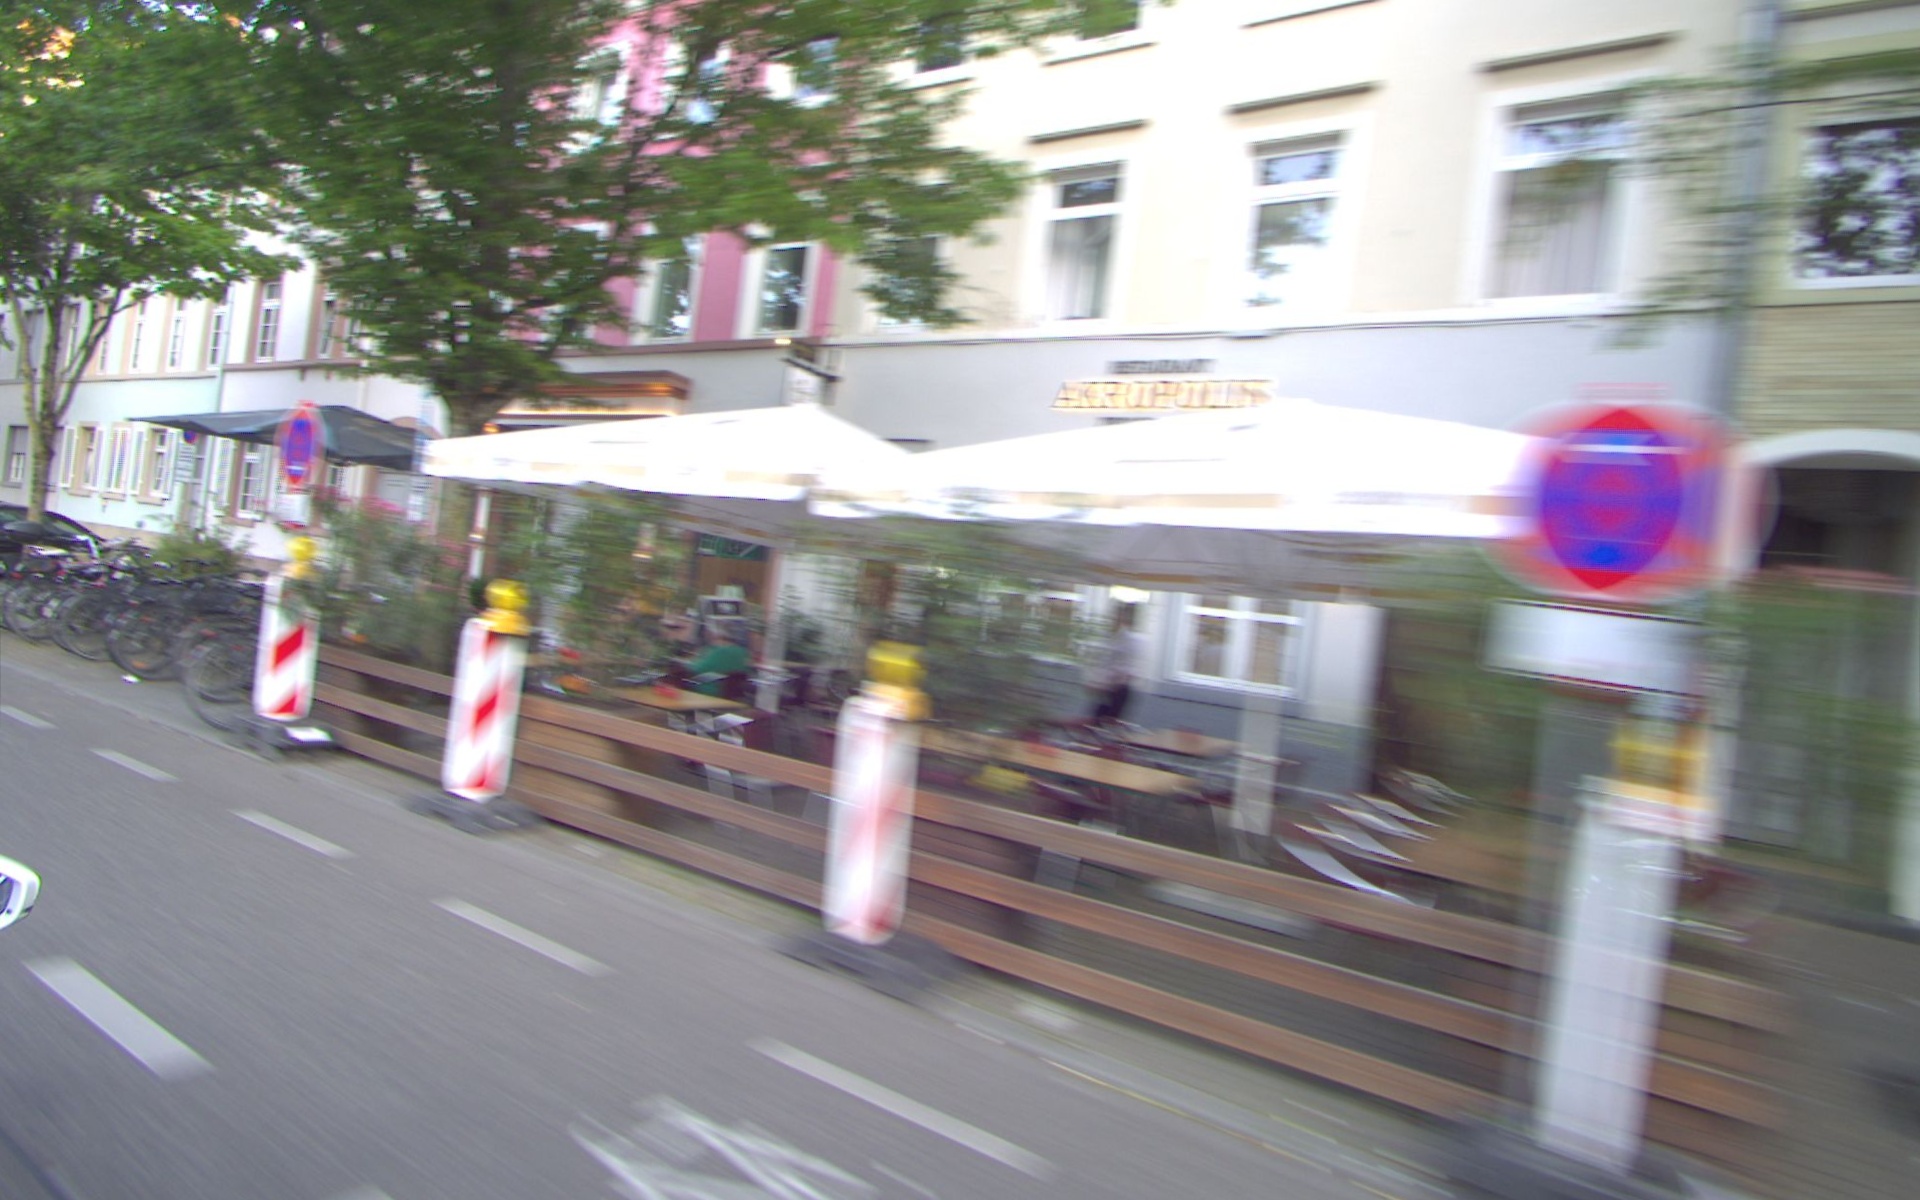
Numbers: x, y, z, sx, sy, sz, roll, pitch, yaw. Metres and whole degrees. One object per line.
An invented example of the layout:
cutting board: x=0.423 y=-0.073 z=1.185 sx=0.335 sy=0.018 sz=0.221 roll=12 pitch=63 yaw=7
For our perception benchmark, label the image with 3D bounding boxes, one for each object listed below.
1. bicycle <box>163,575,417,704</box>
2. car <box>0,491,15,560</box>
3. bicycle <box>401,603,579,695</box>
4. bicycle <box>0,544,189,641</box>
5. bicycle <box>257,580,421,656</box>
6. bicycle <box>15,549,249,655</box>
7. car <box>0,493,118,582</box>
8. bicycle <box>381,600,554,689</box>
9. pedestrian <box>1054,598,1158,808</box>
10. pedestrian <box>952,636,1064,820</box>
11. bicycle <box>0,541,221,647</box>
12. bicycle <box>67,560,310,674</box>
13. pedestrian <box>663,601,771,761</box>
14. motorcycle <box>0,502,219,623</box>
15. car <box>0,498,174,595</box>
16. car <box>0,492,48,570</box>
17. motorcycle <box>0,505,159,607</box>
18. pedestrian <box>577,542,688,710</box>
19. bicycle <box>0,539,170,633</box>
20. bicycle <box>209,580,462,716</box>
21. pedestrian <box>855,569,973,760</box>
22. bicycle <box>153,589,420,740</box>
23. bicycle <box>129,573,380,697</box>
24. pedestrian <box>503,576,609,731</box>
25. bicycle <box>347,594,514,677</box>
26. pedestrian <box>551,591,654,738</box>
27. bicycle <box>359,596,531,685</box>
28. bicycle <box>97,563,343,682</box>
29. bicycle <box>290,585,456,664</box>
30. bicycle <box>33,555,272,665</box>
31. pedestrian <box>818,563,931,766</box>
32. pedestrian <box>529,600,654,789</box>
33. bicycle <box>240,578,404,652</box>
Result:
bicycle: x=-6.247 y=0.369 z=9.504 sx=0.598 sy=1.045 sz=1.888 roll=7 pitch=2 yaw=30
car: x=-22.313 y=-1.746 z=20.466 sx=1.949 sy=1.489 sz=4.128 roll=7 pitch=1 yaw=7
bicycle: x=-5.140 y=0.578 z=11.126 sx=0.381 sy=0.882 sz=1.820 roll=6 pitch=-2 yaw=30
bicycle: x=-10.382 y=-0.067 z=11.919 sx=0.581 sy=1.045 sz=1.865 roll=7 pitch=2 yaw=29
bicycle: x=-7.914 y=0.246 z=12.914 sx=0.320 sy=0.884 sz=1.817 roll=7 pitch=2 yaw=29
bicycle: x=-9.169 y=0.050 z=11.227 sx=0.598 sy=1.045 sz=1.888 roll=7 pitch=2 yaw=30
car: x=-18.004 y=-1.224 z=18.052 sx=1.963 sy=1.489 sz=3.960 roll=7 pitch=1 yaw=15
bicycle: x=-5.534 y=0.537 z=11.431 sx=0.320 sy=0.882 sz=1.820 roll=6 pitch=-2 yaw=29
pedestrian: x=1.332 y=0.932 z=9.325 sx=0.701 sy=1.783 sz=0.705 roll=7 pitch=-1 yaw=5
pedestrian: x=0.385 y=0.992 z=8.000 sx=0.702 sy=1.321 sz=0.553 roll=7 pitch=-1 yaw=4
bicycle: x=-9.785 y=-0.038 z=11.605 sx=0.663 sy=1.081 sz=1.888 roll=7 pitch=2 yaw=29
bicycle: x=-8.002 y=0.192 z=10.535 sx=0.598 sy=1.045 sz=1.888 roll=7 pitch=2 yaw=30
pedestrian: x=-2.130 y=0.711 z=8.845 sx=0.495 sy=1.307 sz=0.599 roll=7 pitch=-1 yaw=33
motorcycle: x=-12.346 y=-0.501 z=14.646 sx=0.951 sy=1.480 sz=2.225 roll=7 pitch=1 yaw=30
car: x=-15.764 y=-0.925 z=16.567 sx=1.788 sy=1.445 sz=4.174 roll=7 pitch=1 yaw=13
car: x=-20.170 y=-1.472 z=18.954 sx=1.789 sy=1.489 sz=4.128 roll=7 pitch=1 yaw=10
motorcycle: x=-13.451 y=-0.636 z=15.345 sx=0.524 sy=1.361 sz=1.788 roll=7 pitch=1 yaw=30
pedestrian: x=-3.743 y=0.295 z=11.496 sx=0.879 sy=1.783 sz=0.552 roll=7 pitch=-1 yaw=31
bicycle: x=-10.874 y=-0.150 z=12.228 sx=0.524 sy=1.045 sz=1.905 roll=7 pitch=2 yaw=29
bicycle: x=-5.557 y=0.419 z=9.075 sx=0.598 sy=1.045 sz=1.817 roll=7 pitch=2 yaw=30
pedestrian: x=-0.458 y=0.646 z=10.214 sx=0.837 sy=1.783 sz=0.553 roll=7 pitch=-1 yaw=21
bicycle: x=-5.367 y=0.498 z=8.134 sx=0.547 sy=1.045 sz=1.680 roll=7 pitch=2 yaw=30
bicycle: x=-6.836 y=0.341 z=9.862 sx=0.598 sy=1.045 sz=1.888 roll=7 pitch=2 yaw=30
pedestrian: x=-3.677 y=0.486 z=9.156 sx=0.590 sy=1.308 sz=0.503 roll=7 pitch=0 yaw=29
bicycle: x=-6.234 y=0.423 z=11.946 sx=0.320 sy=0.884 sz=1.817 roll=7 pitch=2 yaw=29
pedestrian: x=-3.432 y=0.625 z=9.679 sx=0.589 sy=1.307 sz=0.504 roll=7 pitch=-2 yaw=27
bicycle: x=-5.901 y=0.498 z=11.641 sx=0.320 sy=0.882 sz=1.820 roll=6 pitch=-2 yaw=29
bicycle: x=-7.425 y=0.239 z=10.206 sx=0.598 sy=1.045 sz=1.888 roll=7 pitch=2 yaw=30
bicycle: x=-7.214 y=0.318 z=12.463 sx=0.320 sy=0.884 sz=1.817 roll=7 pitch=2 yaw=29
bicycle: x=-8.656 y=0.128 z=10.880 sx=0.598 sy=1.045 sz=1.888 roll=7 pitch=2 yaw=30
pedestrian: x=-0.800 y=0.603 z=9.526 sx=0.701 sy=1.783 sz=0.553 roll=7 pitch=-1 yaw=14
pedestrian: x=-2.783 y=0.705 z=7.606 sx=0.591 sy=1.307 sz=0.502 roll=7 pitch=-1 yaw=36
bicycle: x=-8.251 y=0.214 z=13.103 sx=0.320 sy=0.884 sz=1.817 roll=7 pitch=2 yaw=29
